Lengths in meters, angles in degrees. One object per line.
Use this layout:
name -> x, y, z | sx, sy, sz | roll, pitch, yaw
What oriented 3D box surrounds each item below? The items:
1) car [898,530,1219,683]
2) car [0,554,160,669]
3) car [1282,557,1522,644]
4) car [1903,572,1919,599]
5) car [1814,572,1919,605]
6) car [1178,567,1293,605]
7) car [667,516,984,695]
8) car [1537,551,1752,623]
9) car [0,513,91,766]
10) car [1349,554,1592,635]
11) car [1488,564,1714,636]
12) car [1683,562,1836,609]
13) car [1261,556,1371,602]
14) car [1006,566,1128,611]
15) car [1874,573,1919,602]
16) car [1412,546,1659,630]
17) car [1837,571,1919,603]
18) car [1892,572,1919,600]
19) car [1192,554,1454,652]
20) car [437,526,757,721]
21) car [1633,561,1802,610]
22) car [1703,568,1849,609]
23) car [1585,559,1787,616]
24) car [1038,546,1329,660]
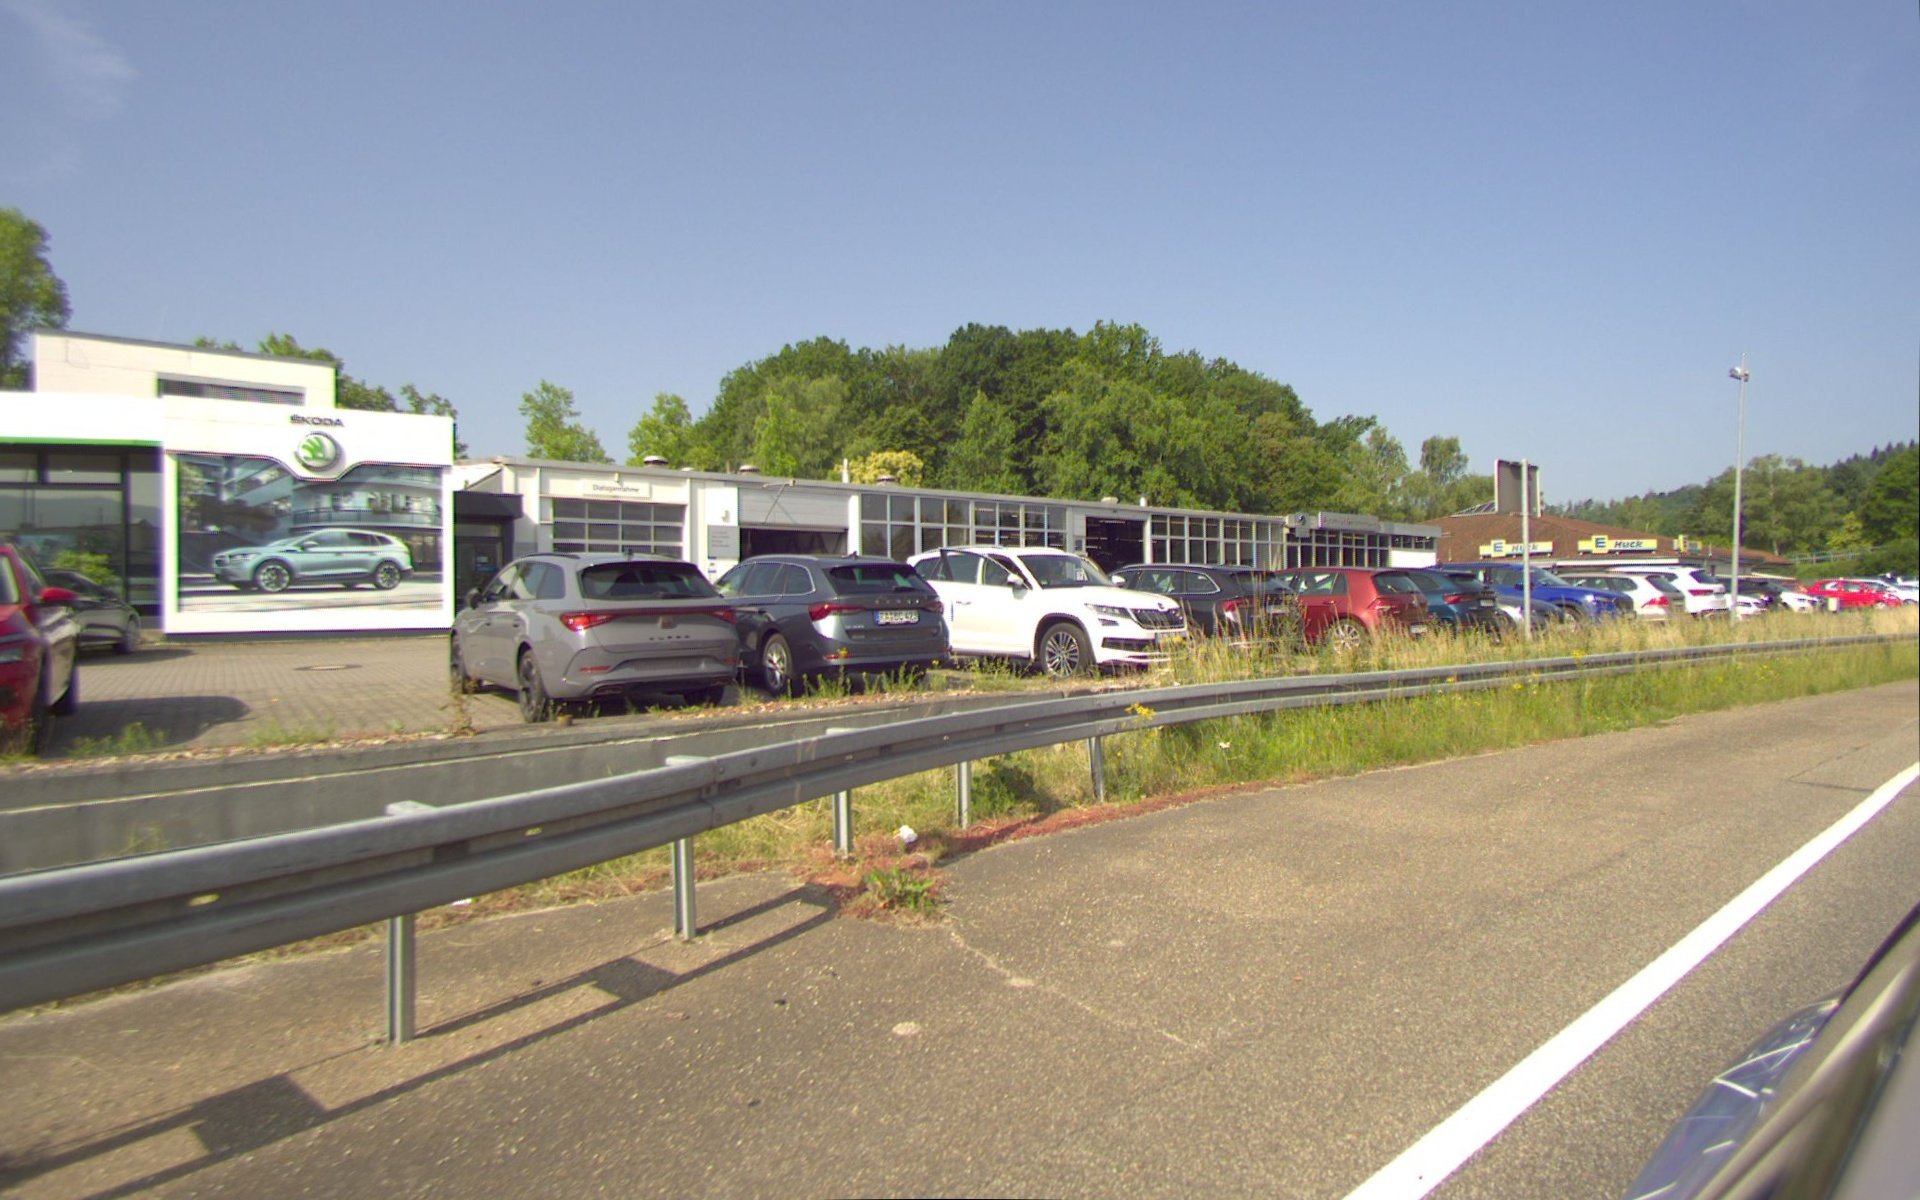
car -> 1.131, 0.036, 13.125 | 1.887, 1.652, 3.995 | -1, 1, -40
car -> -14.517, 0.097, 15.987 | 1.753, 1.584, 4.731 | 0, 2, -23
car -> 8.131, -0.027, 18.883 | 1.747, 1.446, 3.742 | -1, 1, -38
car -> 55.355, -0.779, 55.857 | 1.842, 1.482, 4.575 | -1, 2, -36
car -> 42.071, -0.563, 46.881 | 1.771, 1.482, 3.548 | -1, 2, -36
car -> 11.215, -0.613, 41.450 | 1.759, 1.482, 4.320 | -1, 2, -39
car -> -1.688, 0.017, 11.504 | 1.885, 1.652, 3.998 | -1, 1, -37
car -> 16.964, -0.365, 25.249 | 1.844, 1.637, 4.059 | -1, 2, -35
car -> -7.737, 0.212, 7.480 | 1.749, 1.571, 4.094 | -1, 2, -37
car -> 10.254, -0.130, 20.545 | 1.915, 1.470, 3.997 | -1, 1, -38
car -> 14.722, -0.060, 23.455 | 1.772, 1.526, 4.053 | -1, 2, -35
car -> 28.758, -0.552, 36.491 | 1.772, 1.571, 3.999 | -1, 2, -36
car -> 15.656, -0.941, 44.676 | 1.758, 1.948, 4.322 | -1, 2, -38
car -> 3.703, -0.435, 35.722 | 1.759, 1.482, 4.320 | -1, 2, -39
car -> 49.487, -0.626, 51.598 | 1.842, 1.482, 3.999 | -1, 2, -36
car -> 12.575, -0.280, 22.376 | 1.914, 1.660, 4.369 | -1, 1, -36
car -> 44.385, -0.628, 47.927 | 1.842, 1.482, 3.999 | -1, 2, -36
car -> 52.672, -0.753, 53.648 | 1.842, 1.482, 4.575 | -1, 2, -36
car -> 5.909, 0.014, 16.818 | 1.790, 1.424, 3.740 | -1, 1, -38
car -> -3.635, 0.146, 9.715 | 1.715, 1.477, 3.846 | -1, 1, -39
car -> 25.893, -0.520, 34.714 | 1.997, 1.571, 4.293 | -1, 2, -40
car -> 30.892, -0.467, 38.414 | 1.842, 1.482, 3.999 | -1, 2, -36
car -> 20.773, -0.392, 29.126 | 1.844, 1.513, 4.363 | -1, 2, -36
car -> 3.235, 0.004, 15.282 | 1.915, 1.470, 3.997 | -1, 1, -38
